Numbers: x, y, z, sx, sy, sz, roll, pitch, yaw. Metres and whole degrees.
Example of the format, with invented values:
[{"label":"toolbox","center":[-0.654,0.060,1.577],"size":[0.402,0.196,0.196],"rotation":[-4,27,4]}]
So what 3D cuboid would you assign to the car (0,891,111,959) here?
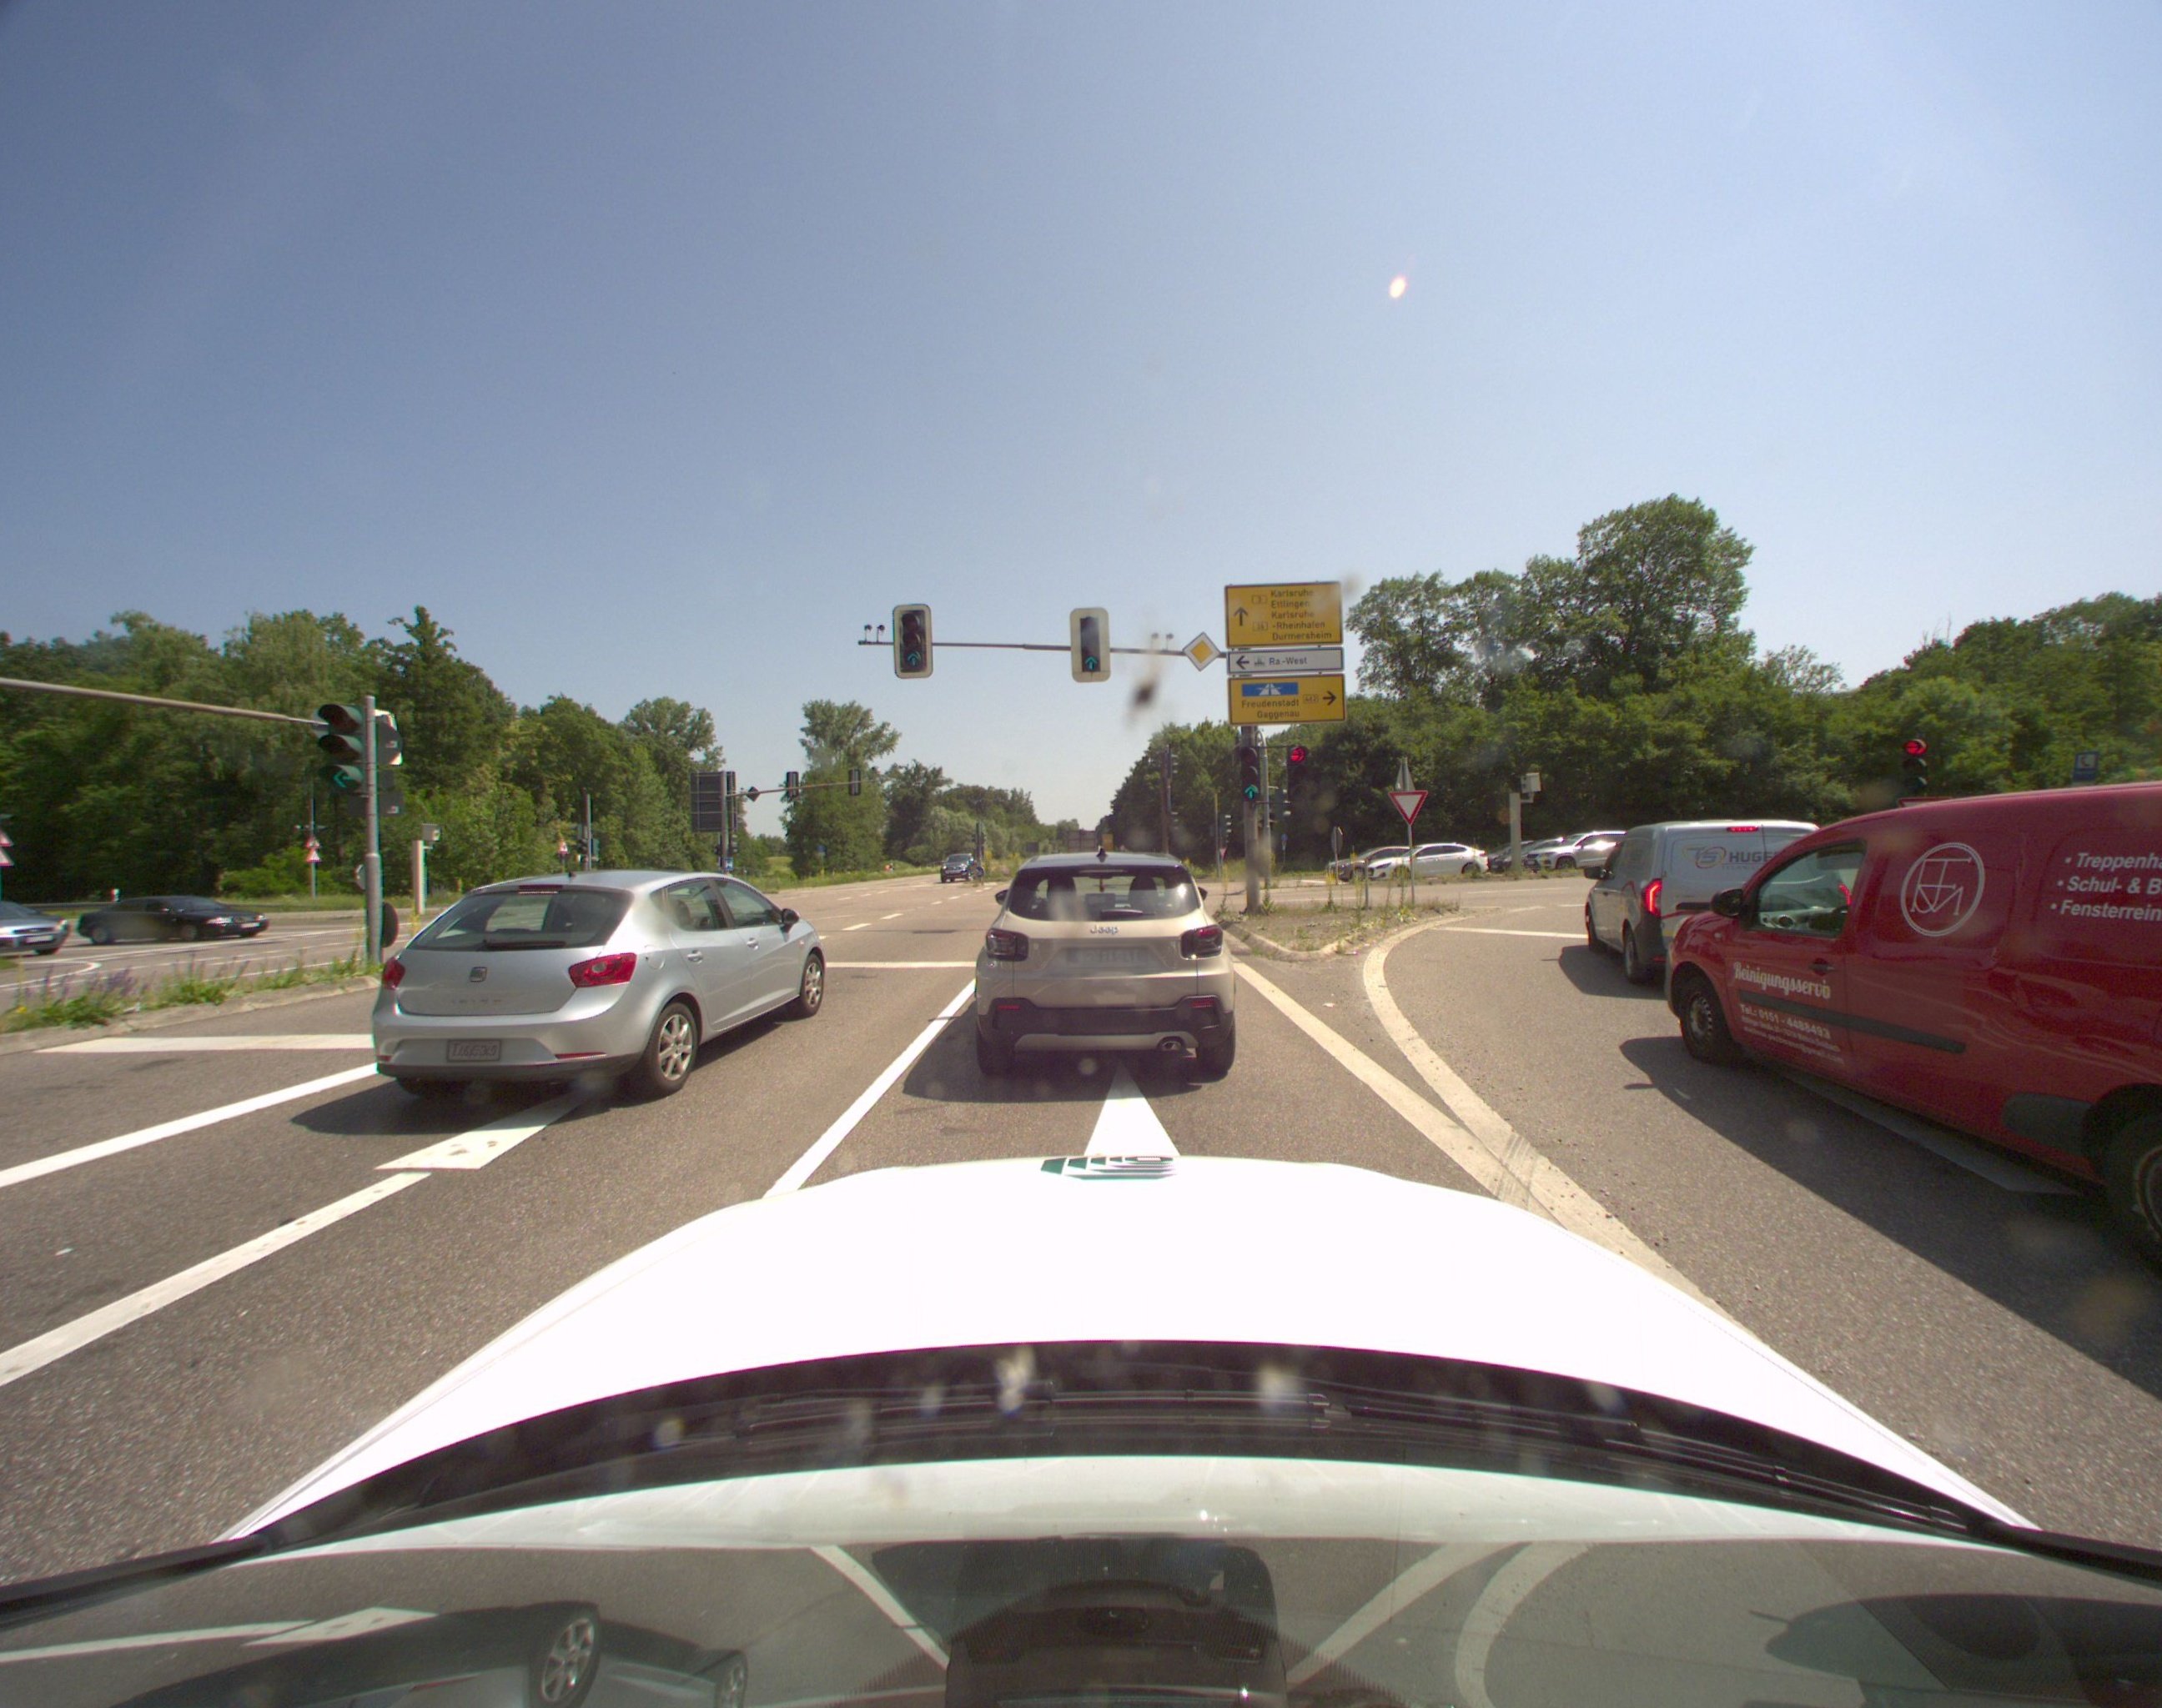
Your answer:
[{"label":"car","center":[-28.569,1.869,20.887],"size":[4.788,1.567,2.130],"rotation":[-2,0,0]}]

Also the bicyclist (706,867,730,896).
[{"label":"bicyclist","center":[-18.869,1.430,42.320],"size":[0.914,1.459,0.721],"rotation":[-2,0,38]}]

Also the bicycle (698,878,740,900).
[{"label":"bicycle","center":[-18.789,1.805,42.311],"size":[0.715,1.063,1.881],"rotation":[-2,0,38]}]

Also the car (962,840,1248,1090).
[{"label":"car","center":[0.213,0.695,7.091],"size":[1.761,1.535,4.002],"rotation":[-1,0,2]}]

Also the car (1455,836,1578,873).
[{"label":"car","center":[20.330,0.026,38.174],"size":[4.600,1.498,2.112],"rotation":[-2,-1,1]}]

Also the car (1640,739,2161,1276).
[{"label":"car","center":[4.852,0.504,4.088],"size":[1.780,1.822,4.511],"rotation":[-1,0,12]}]

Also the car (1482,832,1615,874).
[{"label":"car","center":[19.694,-0.011,34.471],"size":[4.404,1.535,2.122],"rotation":[-2,-1,0]}]

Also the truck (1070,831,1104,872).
[{"label":"truck","center":[0.524,-0.202,83.043],"size":[3.323,3.989,6.529],"rotation":[0,-1,-1]}]

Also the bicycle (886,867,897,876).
[{"label":"bicycle","center":[-22.676,2.137,97.288],"size":[0.600,1.006,1.560],"rotation":[-3,-1,12]}]

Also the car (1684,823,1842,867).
[{"label":"car","center":[26.040,-0.334,31.220],"size":[4.315,1.414,1.974],"rotation":[-3,-1,1]}]

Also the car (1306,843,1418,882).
[{"label":"car","center":[12.033,0.355,35.043],"size":[4.080,1.447,1.994],"rotation":[-2,0,-1]}]

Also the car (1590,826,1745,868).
[{"label":"car","center":[25.197,-0.276,35.140],"size":[5.111,1.533,2.138],"rotation":[-3,-1,1]}]

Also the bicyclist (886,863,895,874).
[{"label":"bicyclist","center":[-21.976,1.704,93.793],"size":[0.752,1.195,0.594],"rotation":[-3,0,11]}]

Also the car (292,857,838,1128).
[{"label":"car","center":[-3.335,0.750,6.266],"size":[1.659,1.430,3.830],"rotation":[0,0,2]}]

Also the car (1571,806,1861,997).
[{"label":"car","center":[7.224,0.438,9.773],"size":[1.740,1.773,4.136],"rotation":[-2,0,24]}]

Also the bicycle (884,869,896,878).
[{"label":"bicycle","center":[-21.959,2.214,93.702],"size":[0.672,1.005,1.806],"rotation":[-3,0,11]}]

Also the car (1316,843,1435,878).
[{"label":"car","center":[13.890,0.314,38.617],"size":[4.913,1.498,2.021],"rotation":[-2,-1,1]}]

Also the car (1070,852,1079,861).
[{"label":"car","center":[-1.466,0.544,183.286],"size":[1.987,2.013,4.553],"rotation":[-2,0,0]}]

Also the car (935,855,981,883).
[{"label":"car","center":[-8.002,0.926,53.627],"size":[1.986,1.678,5.367],"rotation":[-3,0,2]}]

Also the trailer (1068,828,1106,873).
[{"label":"trailer","center":[0.537,-0.254,76.996],"size":[3.372,3.989,10.801],"rotation":[0,-1,0]}]

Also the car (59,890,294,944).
[{"label":"car","center":[-27.326,1.888,24.733],"size":[4.788,1.290,2.106],"rotation":[-2,0,1]}]

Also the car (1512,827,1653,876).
[{"label":"car","center":[19.254,-0.102,31.409],"size":[4.157,1.659,2.000],"rotation":[-2,0,1]}]

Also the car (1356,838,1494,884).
[{"label":"car","center":[13.079,0.269,31.158],"size":[4.406,1.535,1.999],"rotation":[-2,0,-1]}]
